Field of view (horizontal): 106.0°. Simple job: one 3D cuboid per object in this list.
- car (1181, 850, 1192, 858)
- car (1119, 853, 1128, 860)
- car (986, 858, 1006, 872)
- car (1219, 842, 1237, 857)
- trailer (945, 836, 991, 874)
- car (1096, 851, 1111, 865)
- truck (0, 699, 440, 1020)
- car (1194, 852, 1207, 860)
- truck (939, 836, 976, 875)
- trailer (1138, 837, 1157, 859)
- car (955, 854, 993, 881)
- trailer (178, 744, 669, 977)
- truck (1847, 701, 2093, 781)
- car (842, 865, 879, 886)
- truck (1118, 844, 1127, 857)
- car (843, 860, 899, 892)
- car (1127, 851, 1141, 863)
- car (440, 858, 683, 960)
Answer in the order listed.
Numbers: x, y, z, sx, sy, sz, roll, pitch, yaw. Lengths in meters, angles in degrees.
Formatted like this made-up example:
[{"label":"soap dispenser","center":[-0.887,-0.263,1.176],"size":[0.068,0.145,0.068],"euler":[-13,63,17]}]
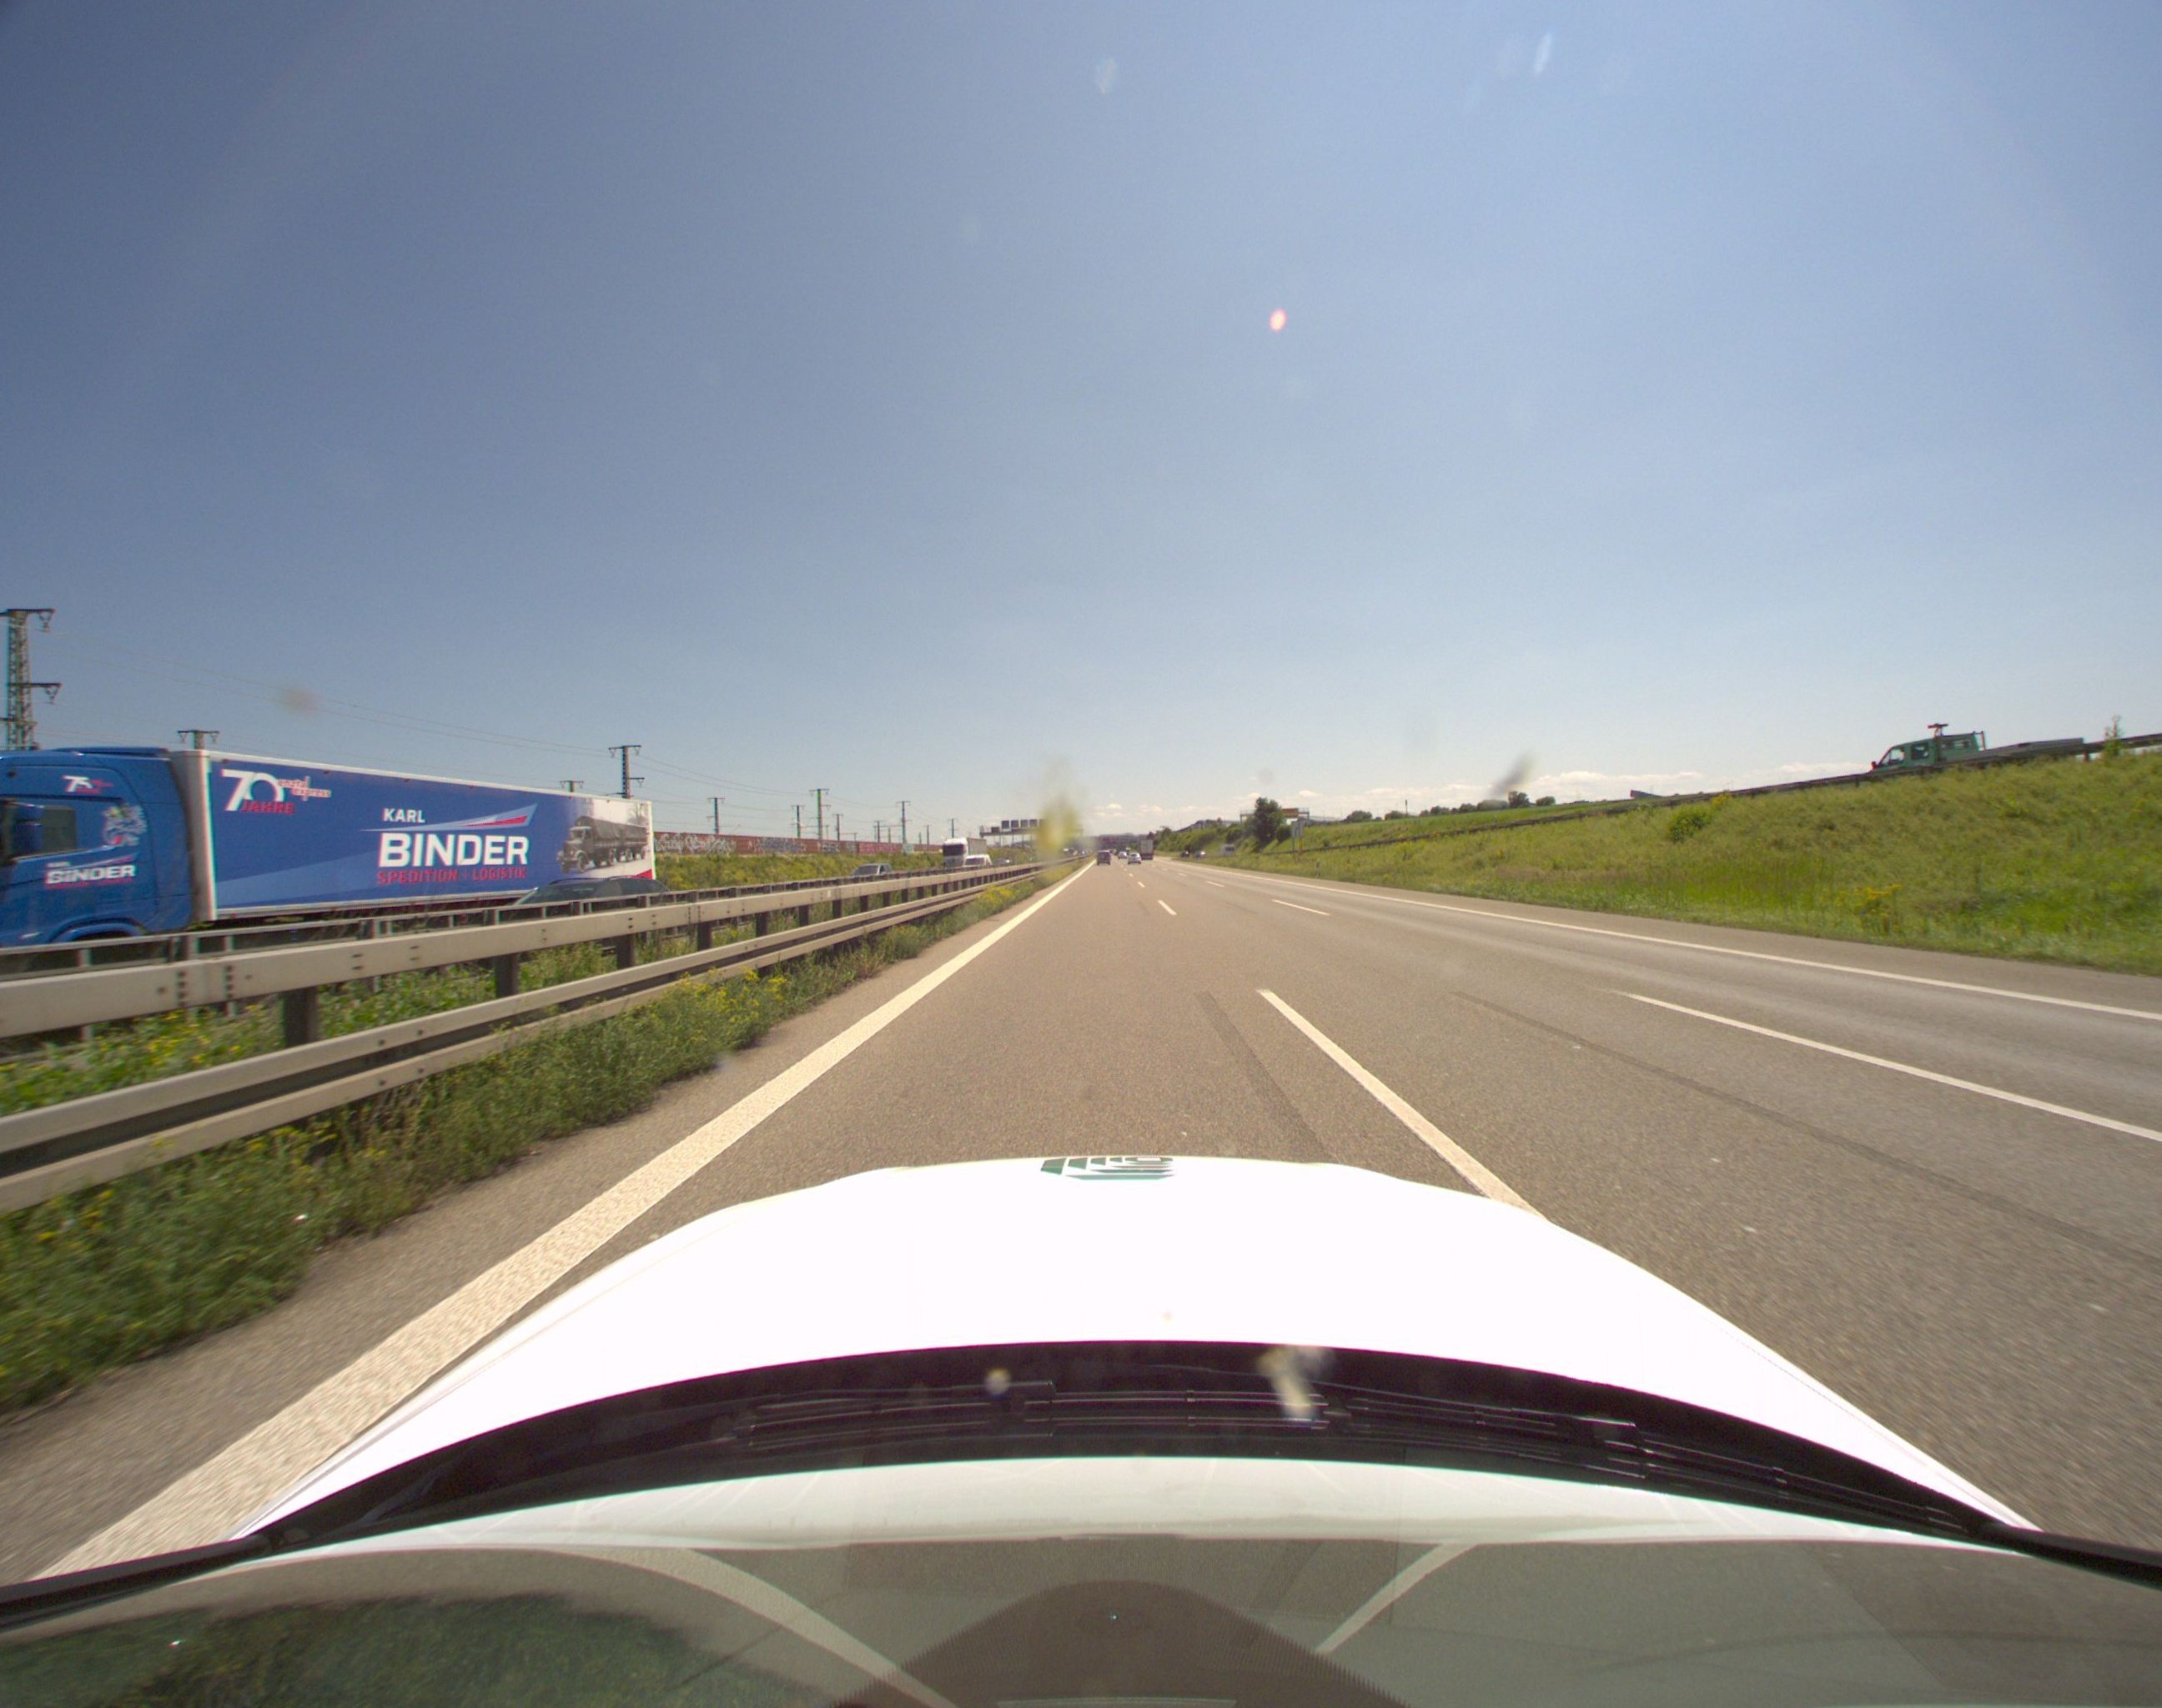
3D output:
[{"label":"car","center":[23.281,0.037,179.733],"size":[1.986,1.596,4.001],"euler":[0,-1,1]},{"label":"car","center":[9.105,0.620,175.711],"size":[1.873,1.526,4.003],"euler":[-1,-1,3]},{"label":"car","center":[-9.644,1.239,92.258],"size":[1.638,1.461,3.838],"euler":[-1,0,3]},{"label":"car","center":[25.213,-0.803,139.869],"size":[2.266,2.528,5.400],"euler":[-1,0,1]},{"label":"trailer","center":[-13.193,0.145,96.341],"size":[2.719,4.074,13.538],"euler":[-2,0,3]},{"label":"car","center":[2.927,0.506,105.851],"size":[1.873,1.775,4.002],"euler":[-2,-1,2]},{"label":"truck","center":[-16.114,0.119,14.654],"size":[2.877,4.407,7.506],"euler":[-2,0,2]},{"label":"car","center":[23.513,0.317,159.880],"size":[1.987,1.508,3.998],"euler":[0,-1,-1]},{"label":"truck","center":[-13.509,0.136,89.684],"size":[2.719,4.072,6.385],"euler":[-2,0,2]},{"label":"trailer","center":[12.886,-1.175,158.241],"size":[3.165,4.059,9.444],"euler":[-2,0,2]},{"label":"car","center":[-7.424,0.883,56.935],"size":[1.809,1.785,4.540],"euler":[-1,0,2]},{"label":"trailer","center":[-15.845,0.128,21.862],"size":[2.877,4.407,12.097],"euler":[-2,0,2]},{"label":"truck","center":[32.404,-4.030,30.100],"size":[2.160,2.092,6.110],"euler":[-2,0,-4]},{"label":"car","center":[-17.943,1.729,66.428],"size":[1.747,1.519,3.838],"euler":[-1,0,2]},{"label":"truck","center":[11.124,-0.965,218.179],"size":[2.346,3.416,6.060],"euler":[-1,0,2]},{"label":"car","center":[-11.609,1.180,45.244],"size":[1.809,1.647,4.364],"euler":[-1,0,2]},{"label":"car","center":[7.127,0.448,109.083],"size":[1.872,1.526,4.005],"euler":[-1,-1,5]},{"label":"car","center":[-9.399,0.929,15.220],"size":[1.712,1.634,4.194],"euler":[0,-1,2]}]
